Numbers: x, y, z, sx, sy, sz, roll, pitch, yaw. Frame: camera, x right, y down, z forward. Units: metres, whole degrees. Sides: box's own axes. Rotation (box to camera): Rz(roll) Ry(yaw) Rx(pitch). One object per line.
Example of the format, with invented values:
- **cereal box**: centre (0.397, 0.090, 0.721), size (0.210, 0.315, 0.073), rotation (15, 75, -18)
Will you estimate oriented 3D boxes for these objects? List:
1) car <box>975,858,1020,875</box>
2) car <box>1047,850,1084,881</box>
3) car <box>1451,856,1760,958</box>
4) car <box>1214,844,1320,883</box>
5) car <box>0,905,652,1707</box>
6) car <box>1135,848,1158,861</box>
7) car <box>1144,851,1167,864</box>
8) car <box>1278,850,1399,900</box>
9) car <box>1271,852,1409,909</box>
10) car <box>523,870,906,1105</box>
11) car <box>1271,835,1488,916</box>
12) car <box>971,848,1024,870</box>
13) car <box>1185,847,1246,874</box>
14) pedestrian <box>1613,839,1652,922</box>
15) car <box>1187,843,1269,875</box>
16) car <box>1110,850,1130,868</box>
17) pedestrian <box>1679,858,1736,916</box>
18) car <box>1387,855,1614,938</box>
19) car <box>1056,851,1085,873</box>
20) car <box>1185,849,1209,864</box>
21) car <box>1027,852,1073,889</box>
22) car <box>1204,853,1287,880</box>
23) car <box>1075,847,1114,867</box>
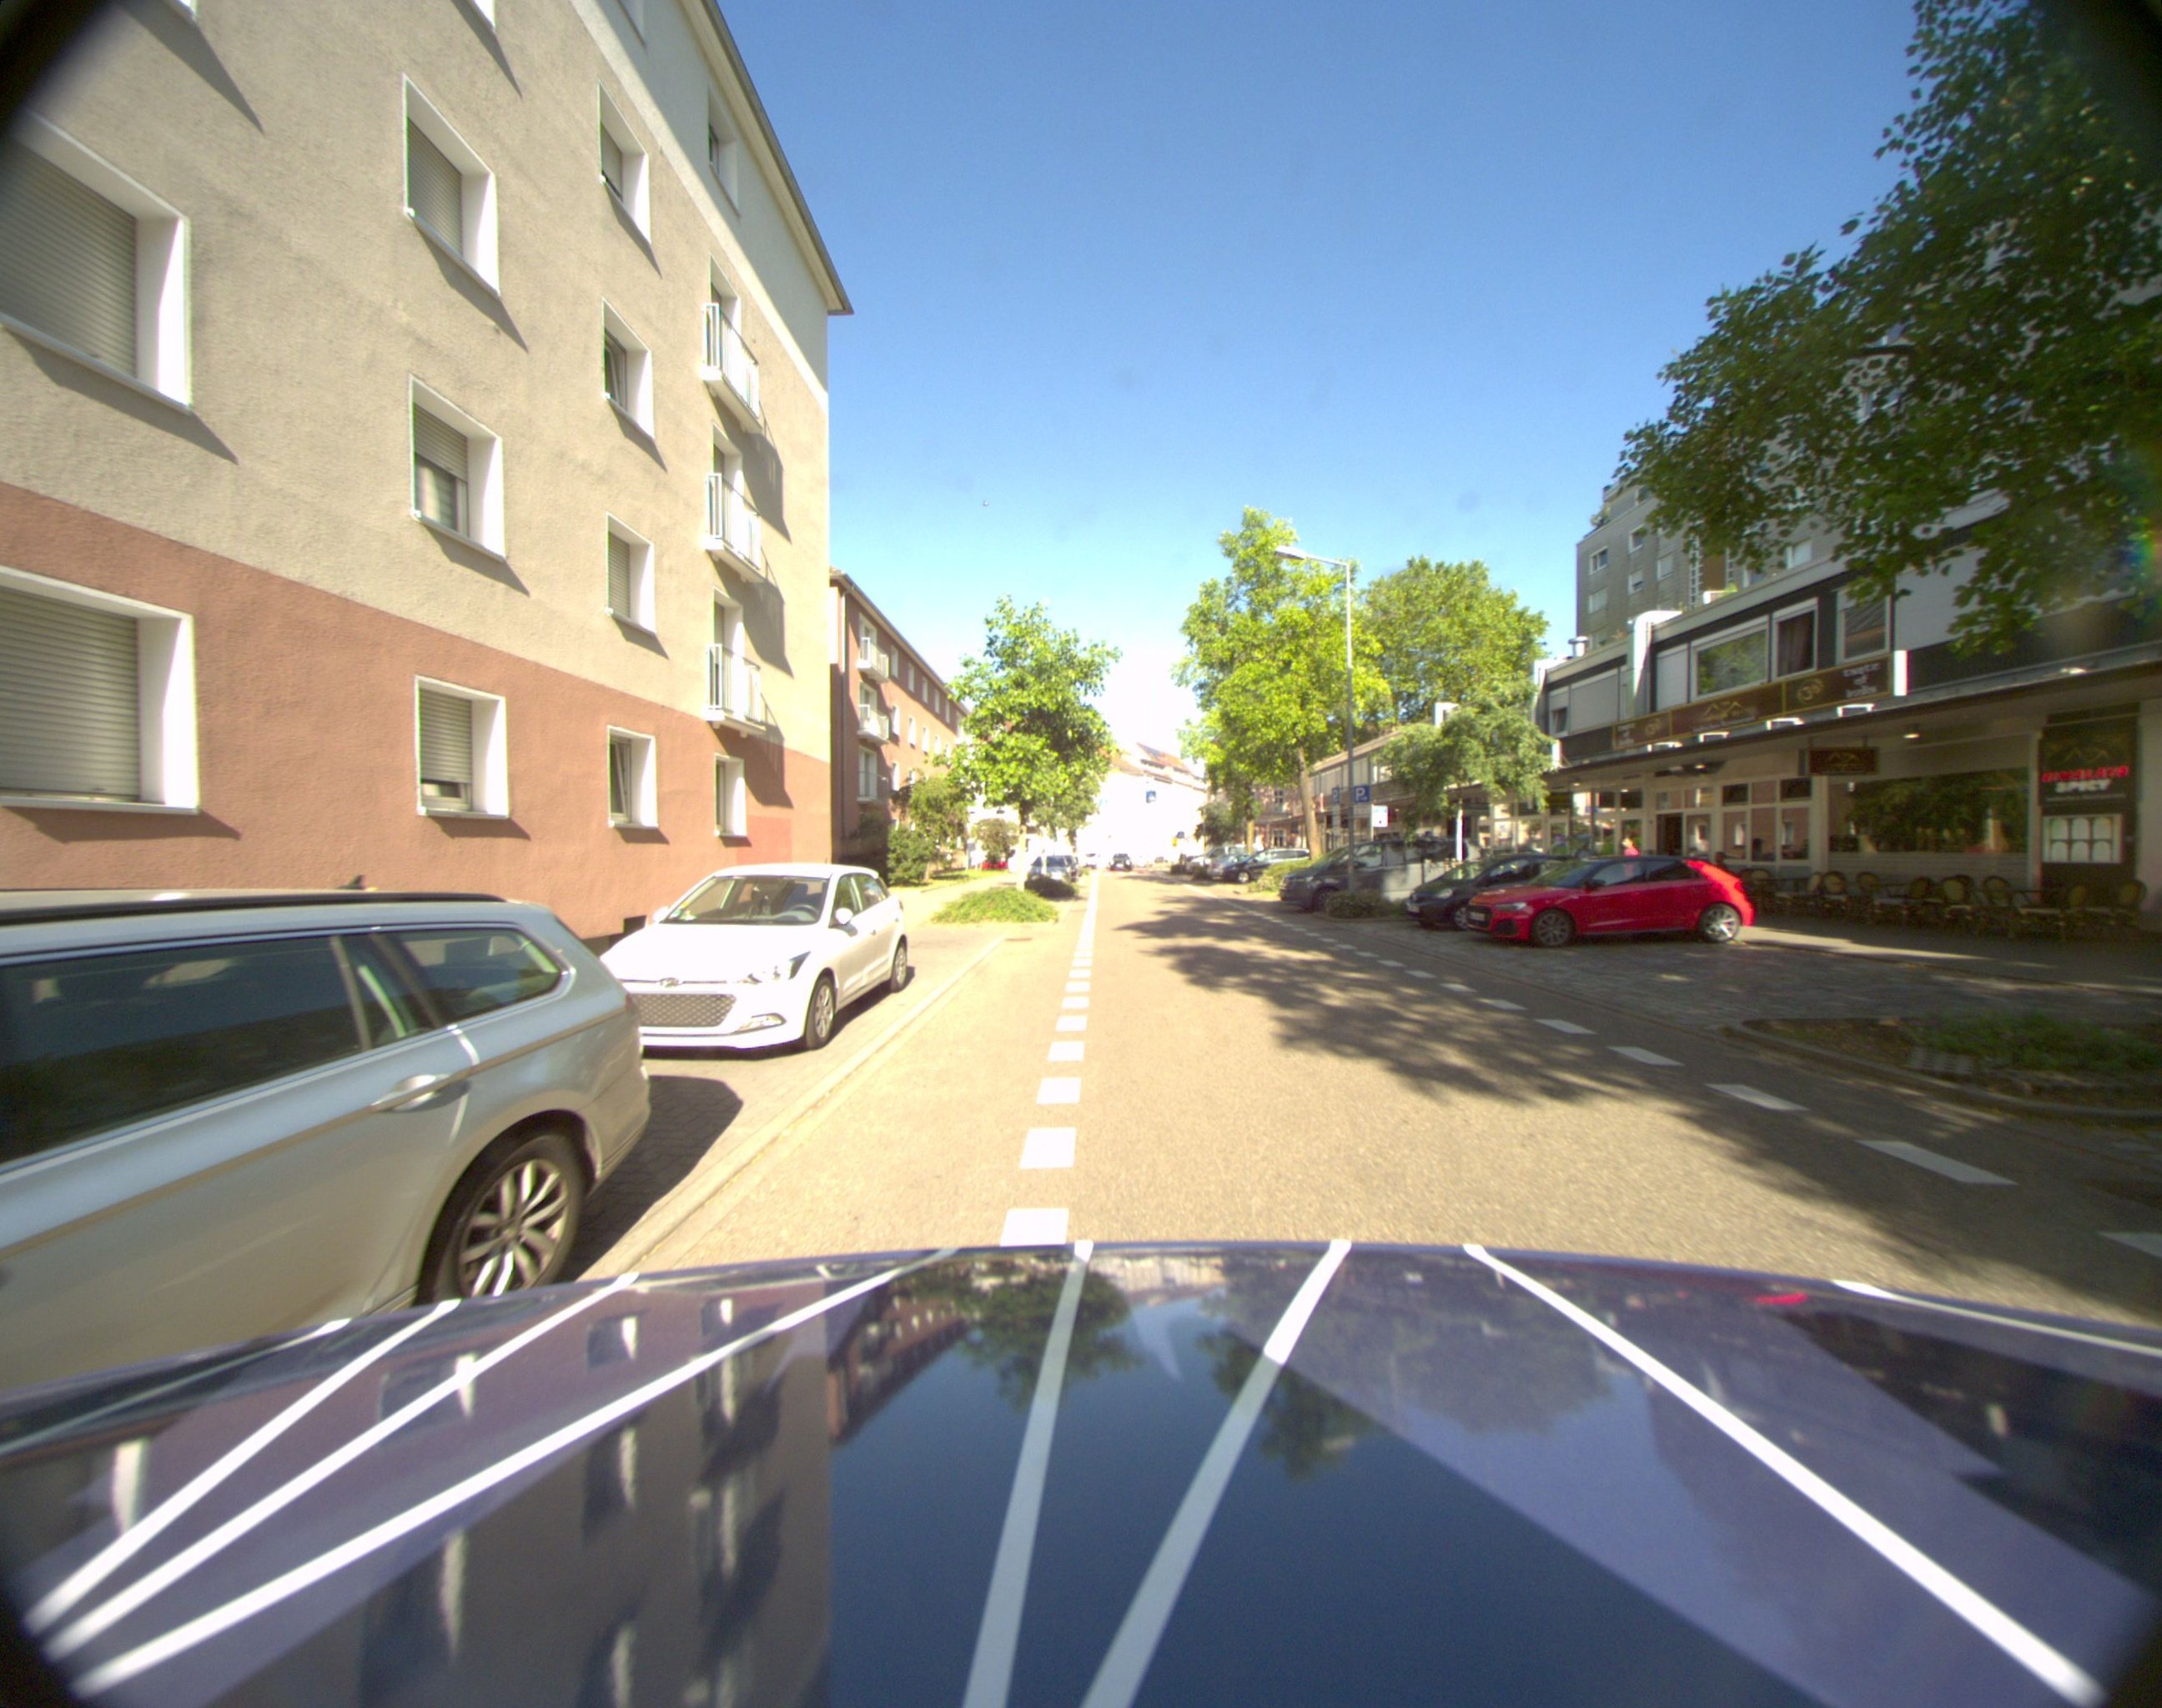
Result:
- **car**: centre (-7.067, 1.029, 64.683), size (3.647, 1.394, 1.568), rotation (0, 1, 1)
- **car**: centre (-0.767, 0.561, 39.515), size (1.661, 1.473, 4.311), rotation (0, 0, 2)
- **car**: centre (8.533, 0.823, 12.619), size (3.927, 1.442, 1.710), rotation (-2, 1, 1)
- **car**: centre (9.224, 0.452, 37.909), size (4.781, 1.767, 1.874), rotation (-2, 1, 0)
- **car**: centre (-2.845, 0.980, 1.002), size (1.789, 1.451, 4.517), rotation (1, 1, 4)
- **car**: centre (7.809, 0.036, 90.177), size (1.632, 1.412, 3.299), rotation (0, 1, 25)
- **car**: centre (8.476, 0.418, 85.903), size (1.632, 1.412, 3.299), rotation (0, 1, 25)
- **car**: centre (8.792, 0.684, 26.133), size (3.595, 1.552, 1.672), rotation (-2, 1, 2)
- **car**: centre (7.759, 0.786, 22.988), size (3.566, 1.545, 1.661), rotation (-2, 1, 1)
- **car**: centre (-2.964, 0.959, 7.131), size (1.735, 1.477, 3.794), rotation (1, 1, 0)
- **car**: centre (7.853, 0.549, 20.330), size (5.043, 1.927, 1.873), rotation (-2, 1, 1)
- **car**: centre (-7.685, 0.460, 70.093), size (4.756, 2.002, 1.999), rotation (0, 1, -3)
- **car**: centre (9.321, 0.428, 52.870), size (3.997, 1.781, 1.757), rotation (0, 1, 1)
- **pedestrian**: centre (11.540, 0.544, 15.921), size (0.579, 1.702, 0.636), rotation (0, 1, 30)
- **car**: centre (9.669, 0.330, 50.285), size (4.995, 1.958, 1.909), rotation (-1, 1, 0)
- **car**: centre (3.350, 0.438, 65.890), size (1.612, 1.444, 3.295), rotation (1, 0, 1)
- **pedestrian**: centre (13.927, 0.724, 16.896), size (0.650, 1.239, 0.746), rotation (0, 1, 2)
- **car**: centre (8.311, 0.814, 15.253), size (3.676, 1.442, 1.613), rotation (-2, 1, -2)
- **car**: centre (-0.670, 0.518, 50.702), size (1.735, 1.420, 4.000), rotation (0, 0, 2)
- **car**: centre (13.217, 0.311, 86.446), size (1.670, 1.628, 4.055), rotation (0, 1, 25)
- **car**: centre (-1.320, 0.687, 33.856), size (1.720, 1.445, 4.000), rotation (0, 1, 2)
- **car**: centre (8.717, 0.664, 40.470), size (3.997, 1.390, 1.759), rotation (0, 1, 0)
- **car**: centre (1.387, 0.253, 75.532), size (1.908, 1.924, 4.818), rotation (0, 1, 28)
